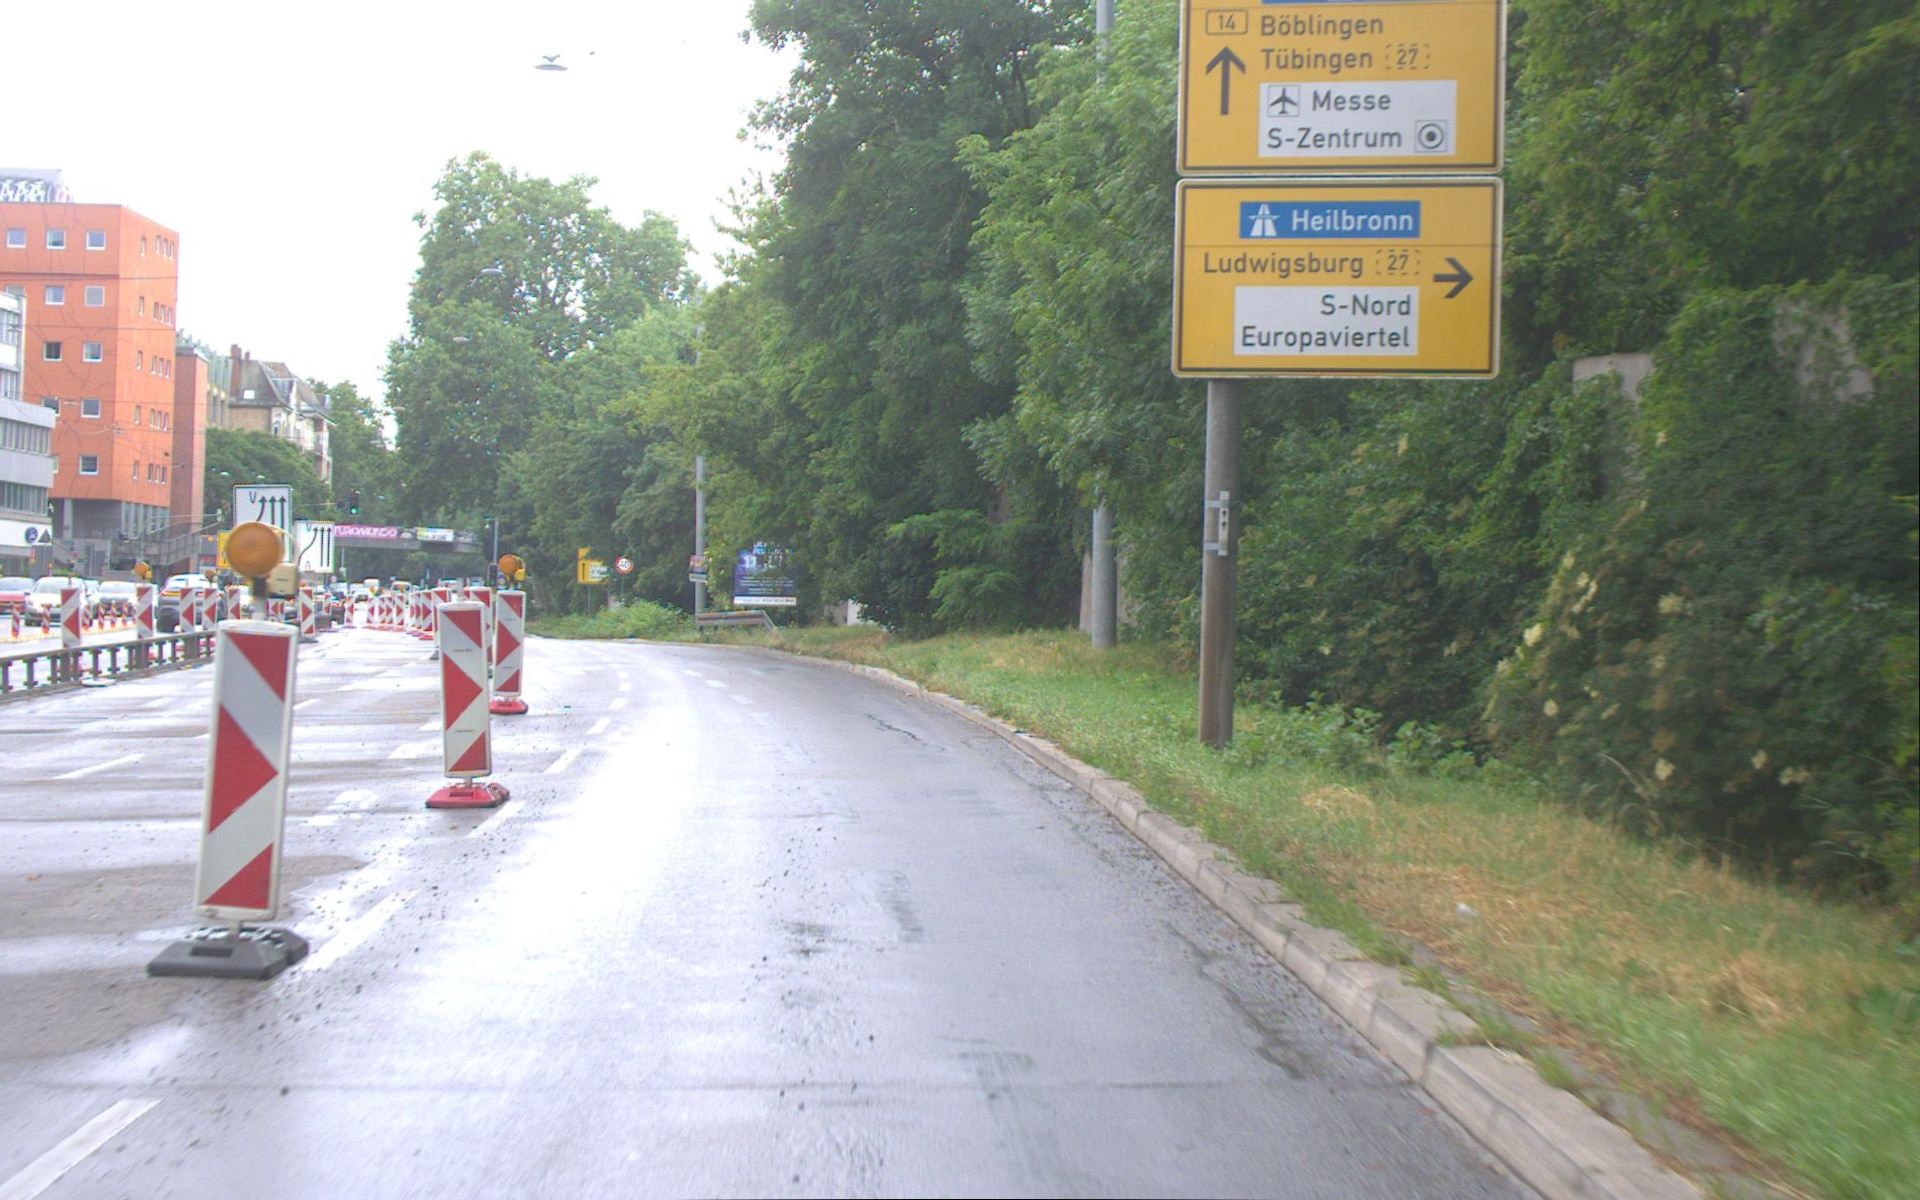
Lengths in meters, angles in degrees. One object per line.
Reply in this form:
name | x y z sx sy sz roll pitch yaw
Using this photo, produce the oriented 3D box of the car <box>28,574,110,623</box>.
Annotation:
car | -26.344 -0.060 101.789 1.779 1.376 4.457 0 0 -7
